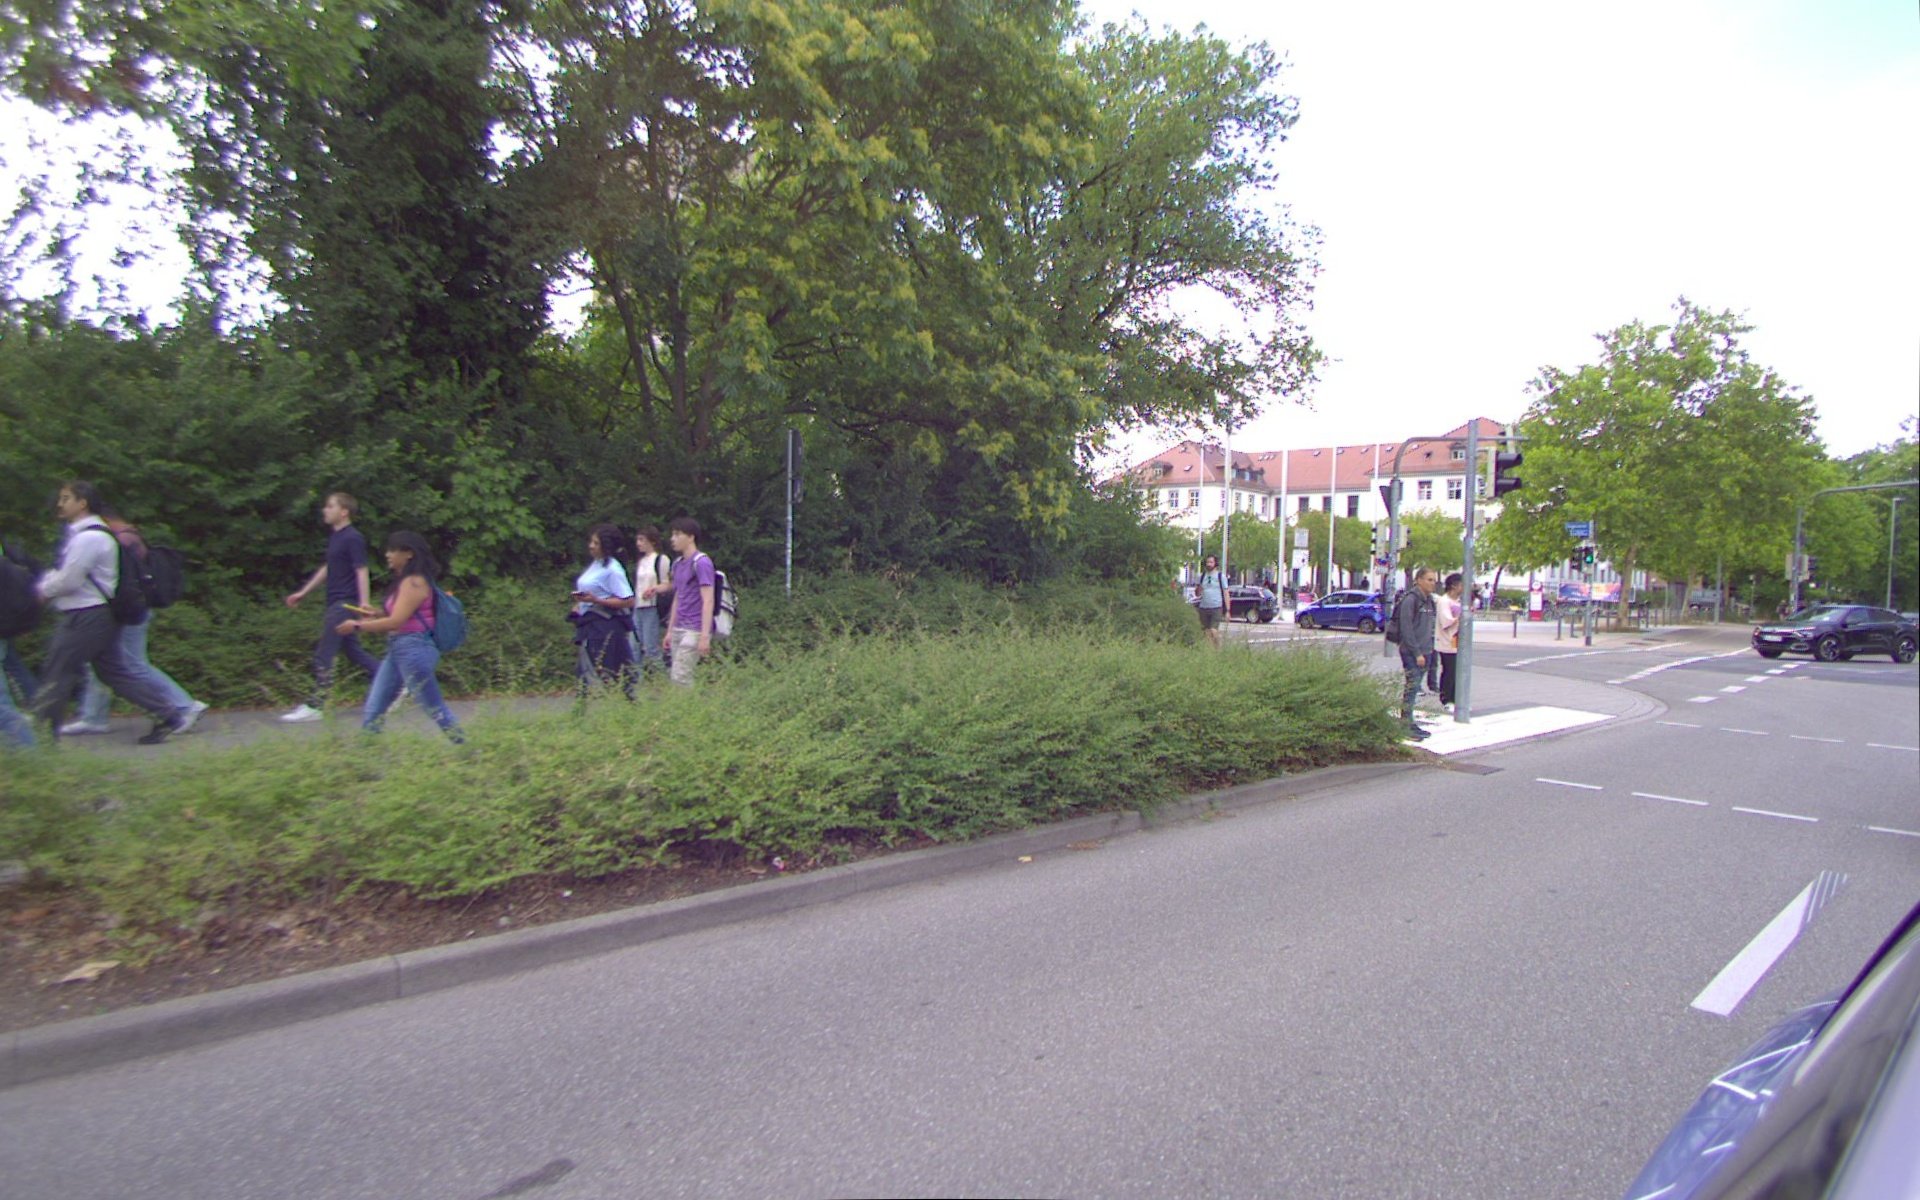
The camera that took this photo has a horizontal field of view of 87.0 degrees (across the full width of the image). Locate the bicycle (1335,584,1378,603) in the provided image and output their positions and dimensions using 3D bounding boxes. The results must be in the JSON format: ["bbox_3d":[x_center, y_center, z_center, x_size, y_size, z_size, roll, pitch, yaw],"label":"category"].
[{"bbox_3d":[25.203,-0.416,64.348,0.705,1.156,2.469,0,2,-43],"label":"bicycle"}]

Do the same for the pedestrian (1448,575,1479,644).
[{"bbox_3d":[13.892,0.250,27.914,0.642,1.875,0.819,1,1,34],"label":"pedestrian"}]

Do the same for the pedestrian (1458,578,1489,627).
[{"bbox_3d":[19.507,0.074,38.437,0.876,1.827,0.769,0,0,-40],"label":"pedestrian"}]

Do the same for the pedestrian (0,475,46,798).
[{"bbox_3d":[-5.336,0.175,5.296,0.798,1.668,0.657,1,2,-43],"label":"pedestrian"}]

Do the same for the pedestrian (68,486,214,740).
[{"bbox_3d":[-5.957,0.078,7.360,0.767,1.720,0.657,1,2,-43],"label":"pedestrian"}]

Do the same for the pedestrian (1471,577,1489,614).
[{"bbox_3d":[28.817,-0.250,56.083,0.674,1.988,0.601,1,0,6],"label":"pedestrian"}]

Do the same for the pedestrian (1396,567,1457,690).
[{"bbox_3d":[6.674,0.388,14.481,0.626,1.708,0.546,0,1,-44],"label":"pedestrian"}]

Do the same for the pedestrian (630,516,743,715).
[{"bbox_3d":[-2.564,0.126,9.485,0.767,1.767,0.657,1,2,-43],"label":"pedestrian"}]

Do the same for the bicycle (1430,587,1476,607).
[{"bbox_3d":[30.145,-0.181,61.912,0.705,1.156,2.469,0,2,-43],"label":"bicycle"}]

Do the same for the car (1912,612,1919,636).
[{"bbox_3d":[59.883,1.511,62.351,1.700,1.386,3.770,3,2,44],"label":"car"}]

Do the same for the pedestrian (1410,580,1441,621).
[{"bbox_3d":[19.904,0.004,43.266,0.687,1.729,0.956,0,0,-25],"label":"pedestrian"}]

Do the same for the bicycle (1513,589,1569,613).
[{"bbox_3d":[31.011,0.031,54.065,0.705,1.156,2.469,0,2,-43],"label":"bicycle"}]

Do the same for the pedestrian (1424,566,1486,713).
[{"bbox_3d":[6.095,0.468,12.455,0.626,1.756,0.454,0,1,-44],"label":"pedestrian"}]

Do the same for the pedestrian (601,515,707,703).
[{"bbox_3d":[-3.024,0.068,10.001,0.767,1.767,0.657,1,2,-43],"label":"pedestrian"}]

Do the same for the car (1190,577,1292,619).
[{"bbox_3d":[11.369,-0.122,41.083,1.647,1.586,3.686,-1,3,-44],"label":"car"}]

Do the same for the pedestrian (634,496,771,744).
[{"bbox_3d":[-1.956,0.131,7.694,0.767,1.767,0.625,1,2,-43],"label":"pedestrian"}]

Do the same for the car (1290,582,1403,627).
[{"bbox_3d":[14.345,0.136,37.684,1.647,1.510,3.574,-1,3,-44],"label":"car"}]

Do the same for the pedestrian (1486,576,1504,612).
[{"bbox_3d":[29.600,-0.352,56.038,0.674,1.988,0.601,1,0,6],"label":"pedestrian"}]

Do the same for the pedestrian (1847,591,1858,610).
[{"bbox_3d":[74.421,0.062,84.364,0.645,1.584,0.792,3,1,44],"label":"pedestrian"}]

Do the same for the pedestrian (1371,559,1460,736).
[{"bbox_3d":[4.734,0.466,10.523,0.643,1.756,0.602,0,1,-44],"label":"pedestrian"}]

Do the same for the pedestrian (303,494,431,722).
[{"bbox_3d":[-4.894,0.049,8.358,0.767,1.767,0.657,1,2,-43],"label":"pedestrian"}]

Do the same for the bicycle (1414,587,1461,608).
[{"bbox_3d":[28.420,-0.170,60.255,0.705,1.156,2.469,0,2,-43],"label":"bicycle"}]

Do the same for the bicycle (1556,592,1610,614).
[{"bbox_3d":[35.096,0.157,57.007,0.705,1.156,2.469,0,2,-43],"label":"bicycle"}]

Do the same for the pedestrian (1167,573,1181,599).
[{"bbox_3d":[13.563,-0.887,64.115,0.722,1.617,0.595,1,0,33],"label":"pedestrian"}]

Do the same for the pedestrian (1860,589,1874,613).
[{"bbox_3d":[75.014,0.053,83.722,0.748,1.957,0.796,1,1,-45],"label":"pedestrian"}]

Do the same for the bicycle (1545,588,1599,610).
[{"bbox_3d":[34.247,-0.074,56.698,0.705,1.156,2.469,0,2,-43],"label":"bicycle"}]

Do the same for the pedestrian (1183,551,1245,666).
[{"bbox_3d":[4.130,0.129,16.461,0.728,1.817,0.645,0,2,-44],"label":"pedestrian"}]

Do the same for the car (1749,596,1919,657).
[{"bbox_3d":[24.209,0.686,27.667,4.090,1.576,1.808,0,0,-8],"label":"car"}]

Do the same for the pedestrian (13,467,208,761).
[{"bbox_3d":[-5.627,0.073,6.715,0.942,1.788,0.657,1,1,-43],"label":"pedestrian"}]

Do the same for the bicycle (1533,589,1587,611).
[{"bbox_3d":[33.419,-0.008,56.373,0.705,1.156,2.469,0,2,-43],"label":"bicycle"}]

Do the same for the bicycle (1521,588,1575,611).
[{"bbox_3d":[32.019,-0.020,55.143,0.705,1.156,2.469,0,2,-43],"label":"bicycle"}]

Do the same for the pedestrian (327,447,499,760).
[{"bbox_3d":[-3.357,0.006,6.211,0.767,1.767,0.657,1,2,-43],"label":"pedestrian"}]

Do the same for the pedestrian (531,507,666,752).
[{"bbox_3d":[-2.781,0.202,7.790,0.776,1.767,0.582,1,2,-43],"label":"pedestrian"}]

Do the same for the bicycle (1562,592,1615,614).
[{"bbox_3d":[35.754,0.150,57.599,0.705,1.156,2.469,0,2,-43],"label":"bicycle"}]
